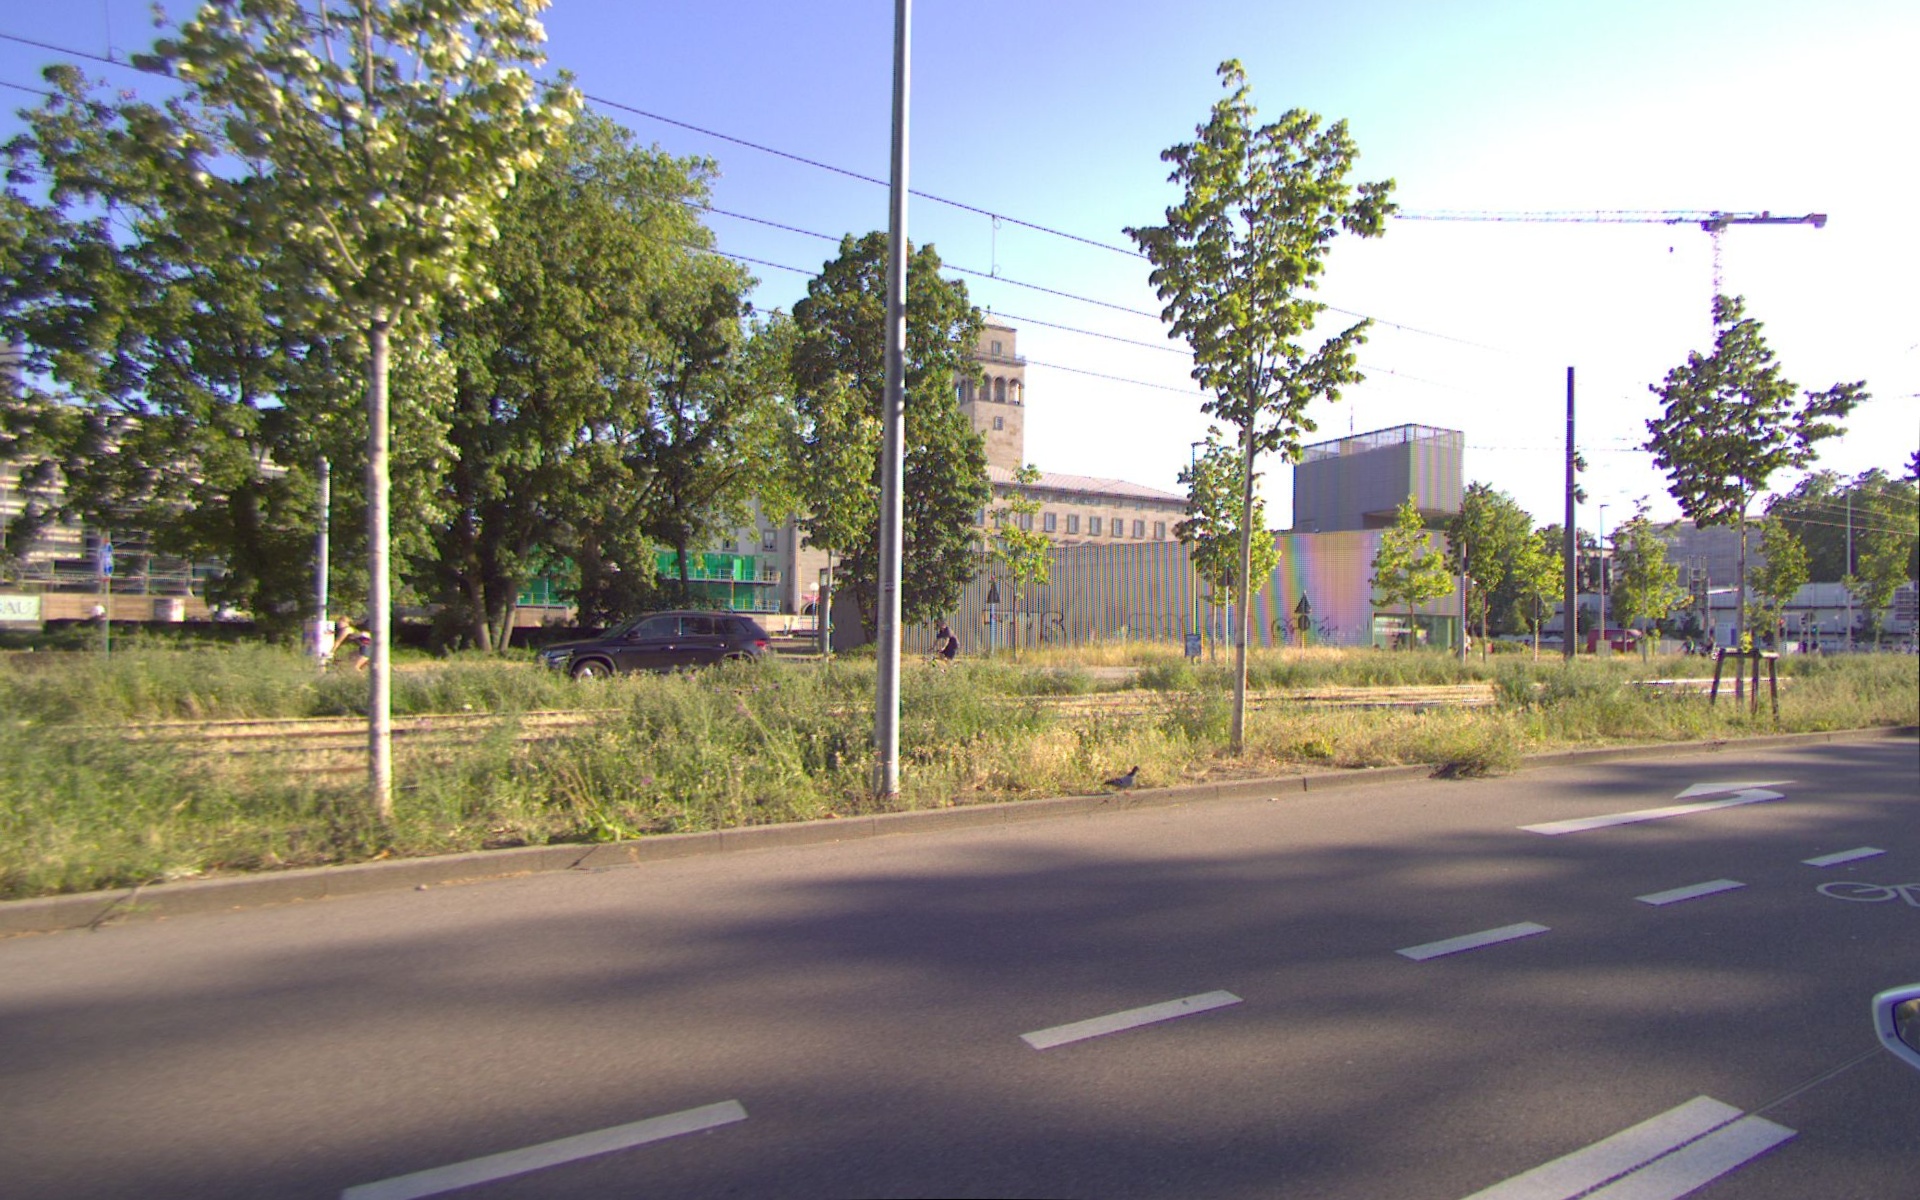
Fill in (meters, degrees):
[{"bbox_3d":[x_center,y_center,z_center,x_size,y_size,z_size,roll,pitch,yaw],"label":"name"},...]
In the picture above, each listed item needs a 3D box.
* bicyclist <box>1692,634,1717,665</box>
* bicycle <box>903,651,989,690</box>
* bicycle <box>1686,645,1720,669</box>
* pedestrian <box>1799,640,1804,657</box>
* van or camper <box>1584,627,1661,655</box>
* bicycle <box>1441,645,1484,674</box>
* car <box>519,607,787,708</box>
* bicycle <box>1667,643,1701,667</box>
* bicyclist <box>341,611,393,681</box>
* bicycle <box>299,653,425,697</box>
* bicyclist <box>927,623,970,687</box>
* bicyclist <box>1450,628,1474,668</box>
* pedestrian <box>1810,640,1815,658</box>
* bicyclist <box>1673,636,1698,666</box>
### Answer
[{"bbox_3d":[36.071,2.393,48.652,1.062,1.461,0.581,2,-1,-29],"label":"bicyclist"},{"bbox_3d":[-0.372,1.918,27.502,2.333,1.016,0.684,2,-1,-30],"label":"bicycle"},{"bbox_3d":[35.940,2.739,48.590,1.963,1.119,0.581,2,-1,-29],"label":"bicycle"},{"bbox_3d":[72.665,4.182,86.726,0.276,1.484,0.272,2,-1,-29],"label":"pedestrian"},{"bbox_3d":[60.663,3.727,92.108,2.127,2.446,5.639,1,-2,-27],"label":"van or camper"},{"bbox_3d":[19.682,2.317,39.307,1.876,1.074,0.556,2,-1,-30],"label":"bicycle"},{"bbox_3d":[-6.007,1.098,19.865,4.758,1.789,1.861,2,-1,-31],"label":"car"},{"bbox_3d":[35.461,2.686,49.215,1.963,1.119,0.581,2,-1,-29],"label":"bicycle"},{"bbox_3d":[-11.859,0.902,20.094,0.861,1.364,0.684,2,-1,-31],"label":"bicyclist"},{"bbox_3d":[-11.912,1.487,20.064,2.121,0.815,0.684,2,-1,-32],"label":"bicycle"},{"bbox_3d":[-0.325,1.503,27.567,0.942,1.730,0.684,1,-1,-30],"label":"bicyclist"},{"bbox_3d":[19.628,1.872,39.270,0.660,1.527,0.554,2,-1,-29],"label":"bicyclist"},{"bbox_3d":[73.160,4.205,86.246,0.314,1.484,0.271,2,-1,-39],"label":"pedestrian"},{"bbox_3d":[35.560,2.488,49.249,1.062,1.461,0.581,2,-1,-29],"label":"bicyclist"}]
